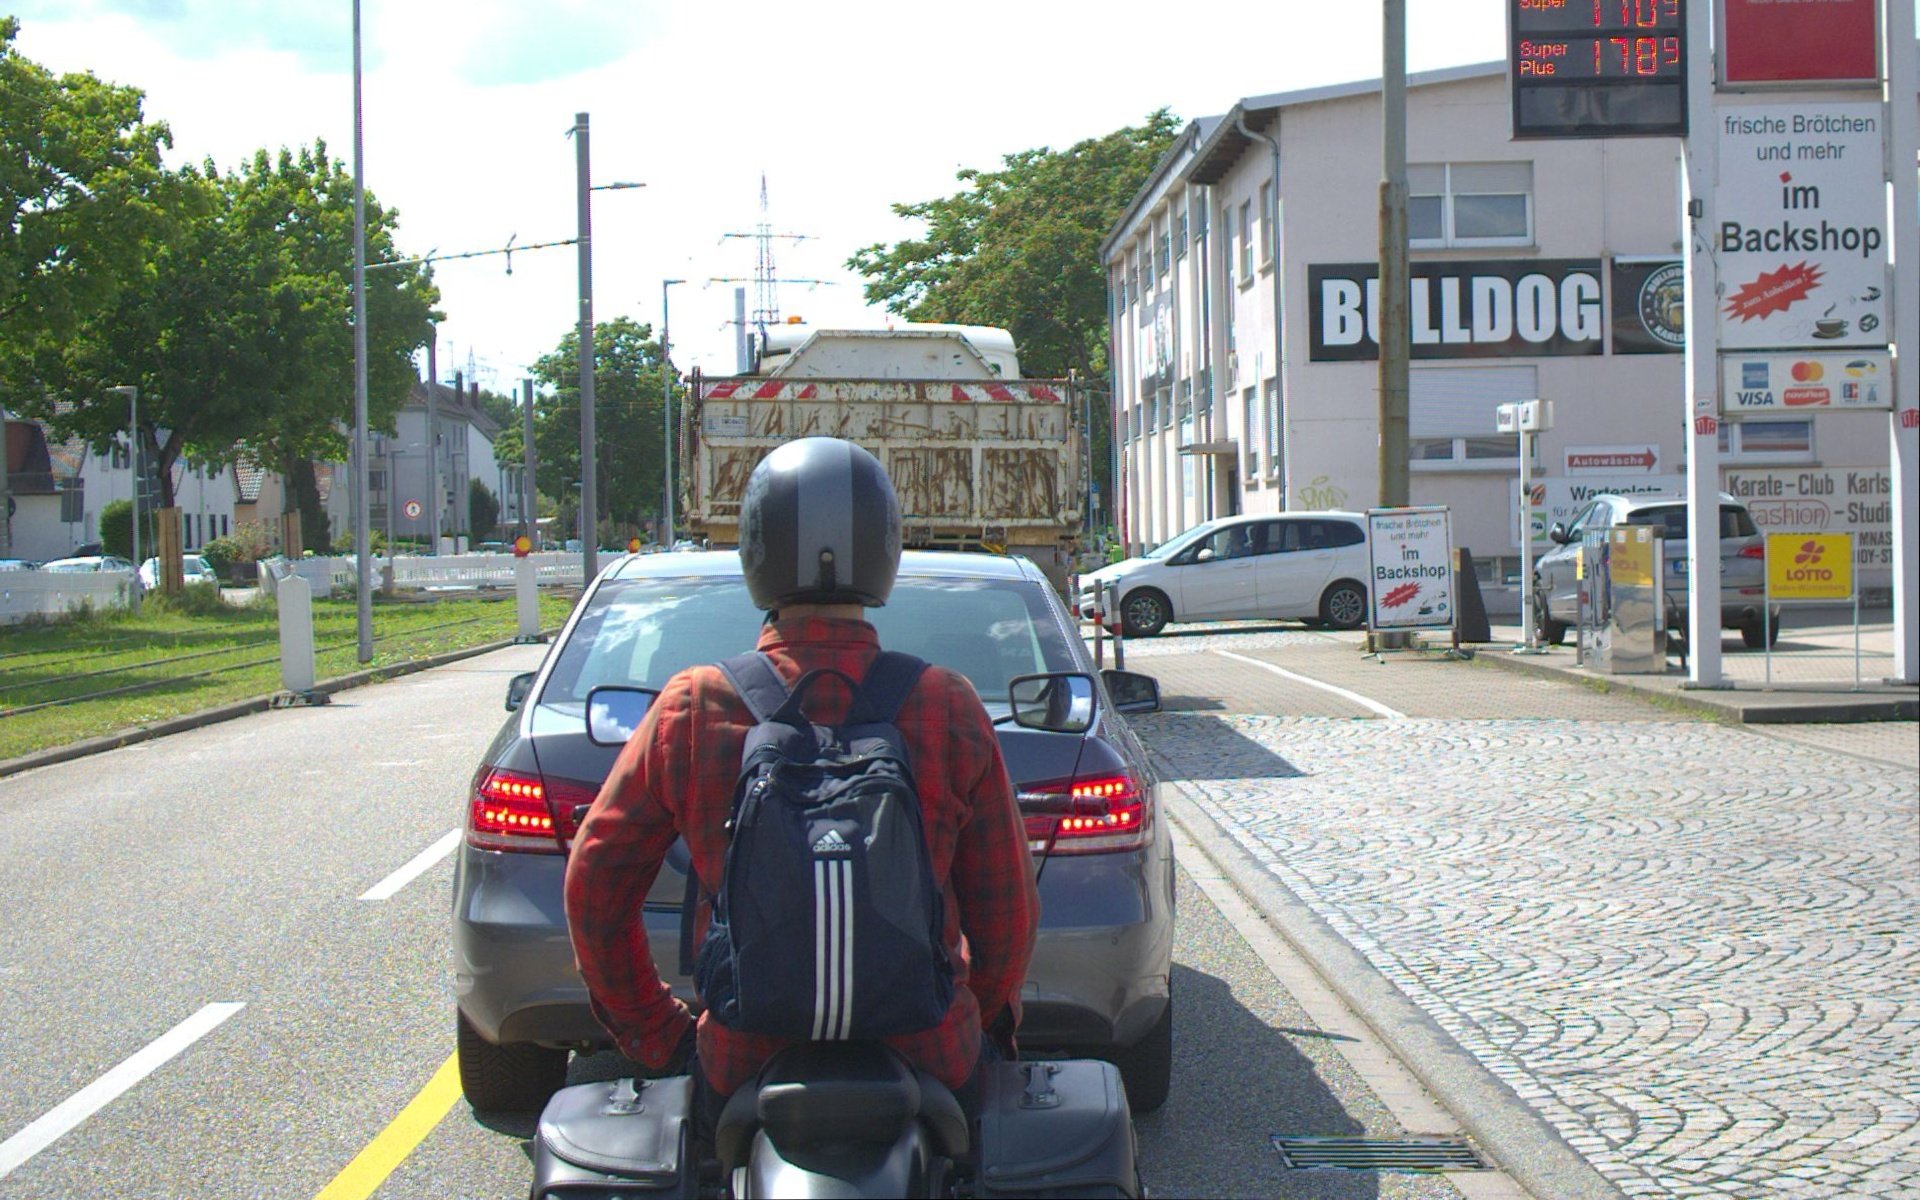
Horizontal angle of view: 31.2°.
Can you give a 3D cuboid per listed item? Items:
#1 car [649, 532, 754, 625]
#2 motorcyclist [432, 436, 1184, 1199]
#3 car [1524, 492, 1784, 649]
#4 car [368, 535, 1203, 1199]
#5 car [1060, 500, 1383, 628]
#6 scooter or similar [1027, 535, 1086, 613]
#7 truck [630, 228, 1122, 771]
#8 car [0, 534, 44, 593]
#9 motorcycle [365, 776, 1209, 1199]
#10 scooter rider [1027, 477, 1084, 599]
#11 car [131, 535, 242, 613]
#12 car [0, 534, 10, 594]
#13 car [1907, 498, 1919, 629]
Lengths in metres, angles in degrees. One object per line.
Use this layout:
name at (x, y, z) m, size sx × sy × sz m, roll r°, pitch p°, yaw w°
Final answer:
car at (-4.753, -0.422, 63.681) m, size 1.680 × 1.619 × 4.119 m, roll -1°, pitch 1°, yaw -1°
motorcyclist at (-0.208, 0.591, 5.088) m, size 0.969 × 1.627 × 1.215 m, roll 1°, pitch 1°, yaw -1°
car at (7.324, -0.342, 36.648) m, size 1.832 × 1.530 × 4.010 m, roll -1°, pitch 1°, yaw -2°
car at (-0.445, 0.584, 9.706) m, size 1.832 × 1.474 × 4.010 m, roll -1°, pitch 1°, yaw -2°
car at (3.551, -0.503, 47.034) m, size 4.104 × 1.619 × 1.686 m, roll -1°, pitch 1°, yaw -8°
scooter or similar at (1.453, -0.404, 51.952) m, size 0.795 × 1.141 × 1.519 m, roll -1°, pitch 1°, yaw -1°
truck at (-0.635, -0.714, 25.472) m, size 2.970 × 3.292 × 8.408 m, roll -1°, pitch 1°, yaw -2°
car at (-29.261, -1.118, 104.594) m, size 1.698 × 1.733 × 4.062 m, roll -1°, pitch 1°, yaw 0°
motorcycle at (-0.218, 0.866, 5.211) m, size 0.976 × 1.010 × 2.432 m, roll 1°, pitch 1°, yaw -1°
scooter rider at (1.440, -0.942, 51.957) m, size 0.795 × 1.812 × 0.508 m, roll -1°, pitch 1°, yaw -1°
car at (-17.939, -0.627, 79.891) m, size 1.698 × 1.733 × 3.860 m, roll -1°, pitch 1°, yaw 0°
car at (-28.666, -1.006, 98.583) m, size 1.698 × 1.733 × 4.062 m, roll -1°, pitch 1°, yaw 0°
car at (11.788, -0.402, 37.246) m, size 1.832 × 1.474 × 4.010 m, roll -1°, pitch 1°, yaw -2°
